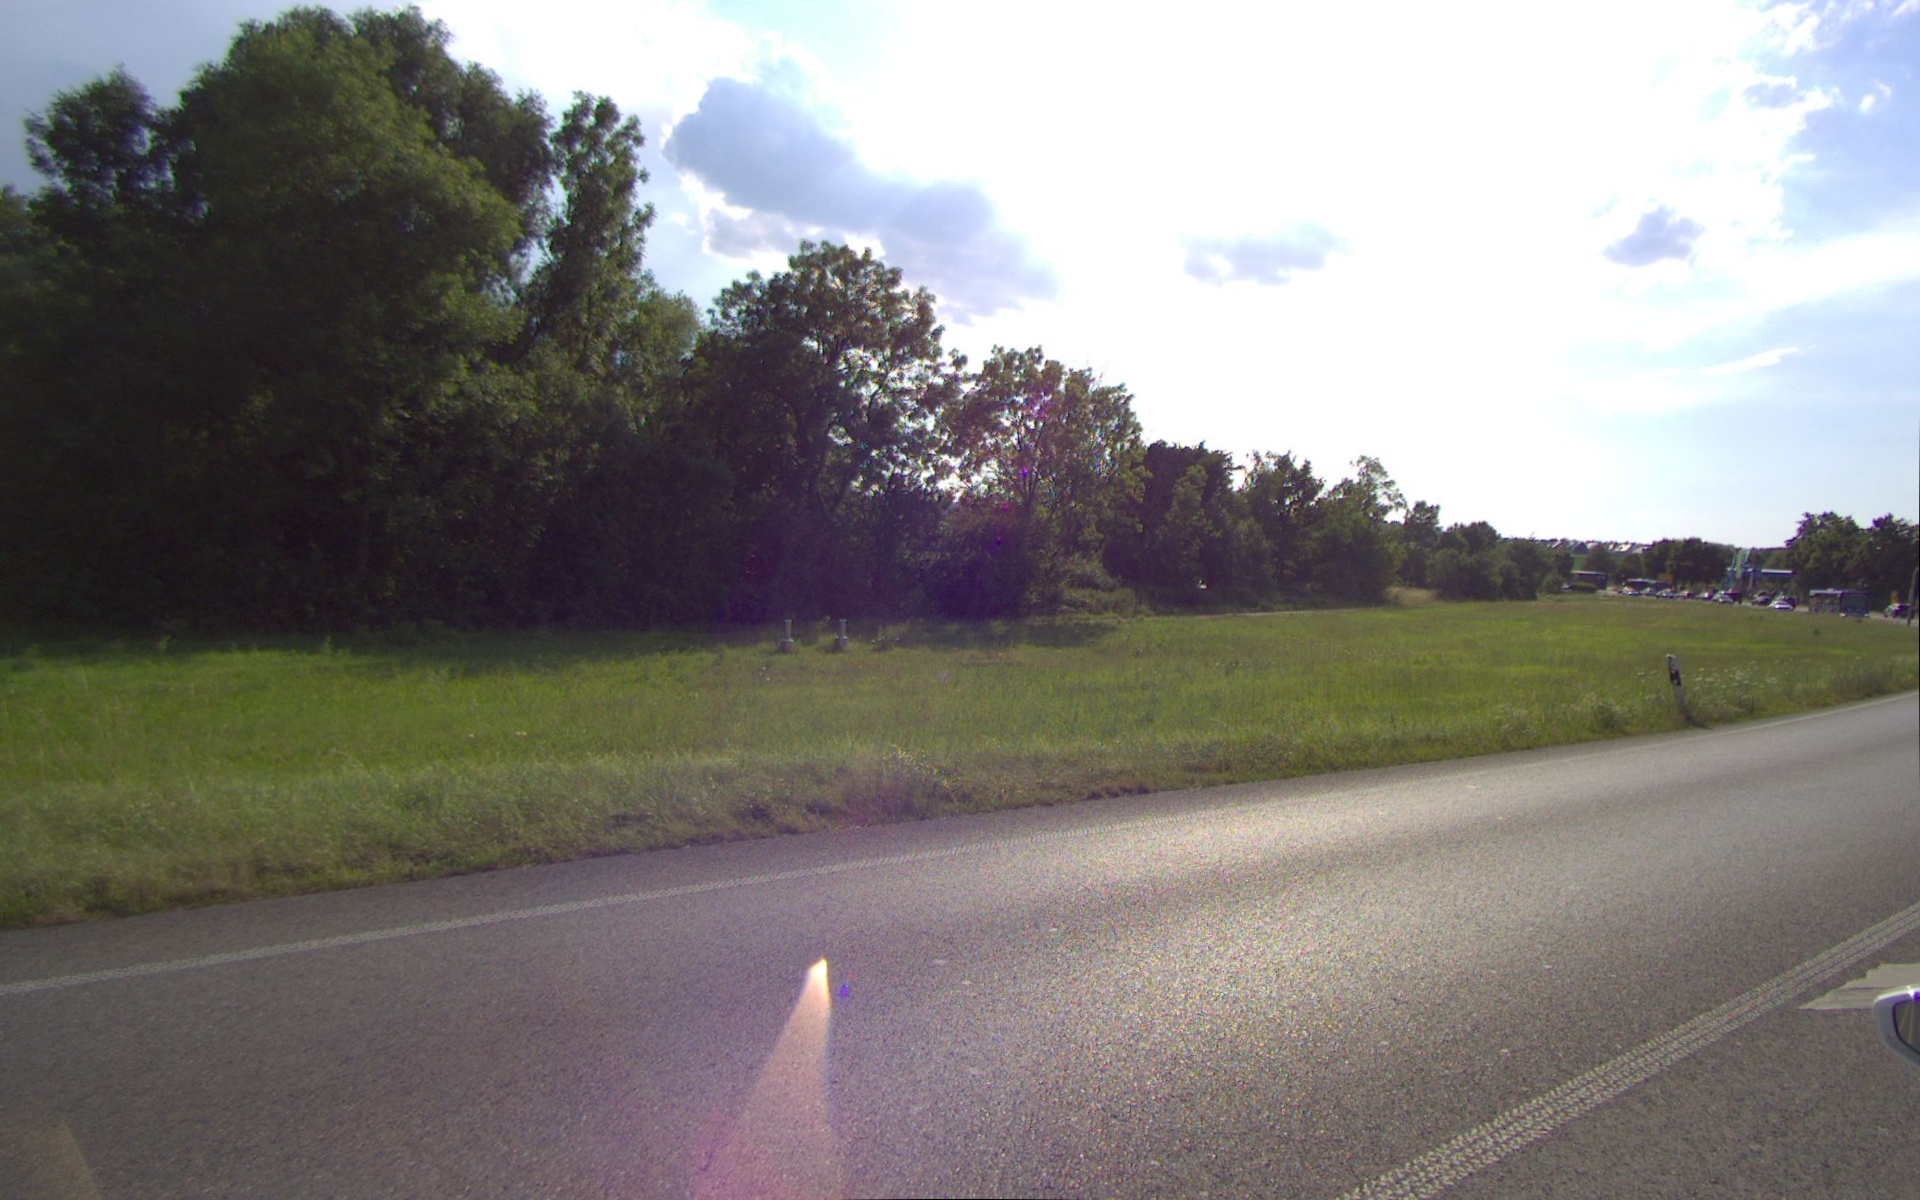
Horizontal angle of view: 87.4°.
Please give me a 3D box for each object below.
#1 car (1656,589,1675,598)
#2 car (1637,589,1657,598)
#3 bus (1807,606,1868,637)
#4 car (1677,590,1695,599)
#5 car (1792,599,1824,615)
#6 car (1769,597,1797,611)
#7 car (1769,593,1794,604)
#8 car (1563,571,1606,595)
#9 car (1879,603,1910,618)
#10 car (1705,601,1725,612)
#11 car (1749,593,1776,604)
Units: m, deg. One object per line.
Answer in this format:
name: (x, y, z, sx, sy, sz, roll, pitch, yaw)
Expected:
car: (135.728, -1.230, 193.261, 1.851, 1.621, 3.999, 2, 1, 20)
car: (137.436, -1.285, 201.009, 1.850, 1.621, 4.001, 2, 1, 14)
bus: (98.446, 2.425, 112.887, 2.753, 3.224, 12.102, 2, 0, 30)
car: (134.827, -0.990, 186.493, 1.852, 1.621, 3.997, 2, 1, 24)
car: (94.466, 0.778, 111.943, 1.813, 1.678, 3.994, 2, 0, 28)
car: (109.365, 0.515, 133.544, 1.811, 1.678, 3.998, 2, 0, 23)
car: (123.315, -0.196, 150.771, 2.053, 1.621, 3.995, 2, 1, 26)
car: (140.431, -3.832, 226.090, 3.480, 5.127, 13.249, 2, 1, 10)
car: (108.418, 1.193, 116.560, 1.496, 1.678, 3.868, 2, 0, 27)
car: (118.664, 0.986, 157.834, 1.813, 1.678, 3.994, 2, 0, 28)
car: (126.477, -0.174, 158.358, 2.051, 1.621, 3.999, 2, 1, 20)
